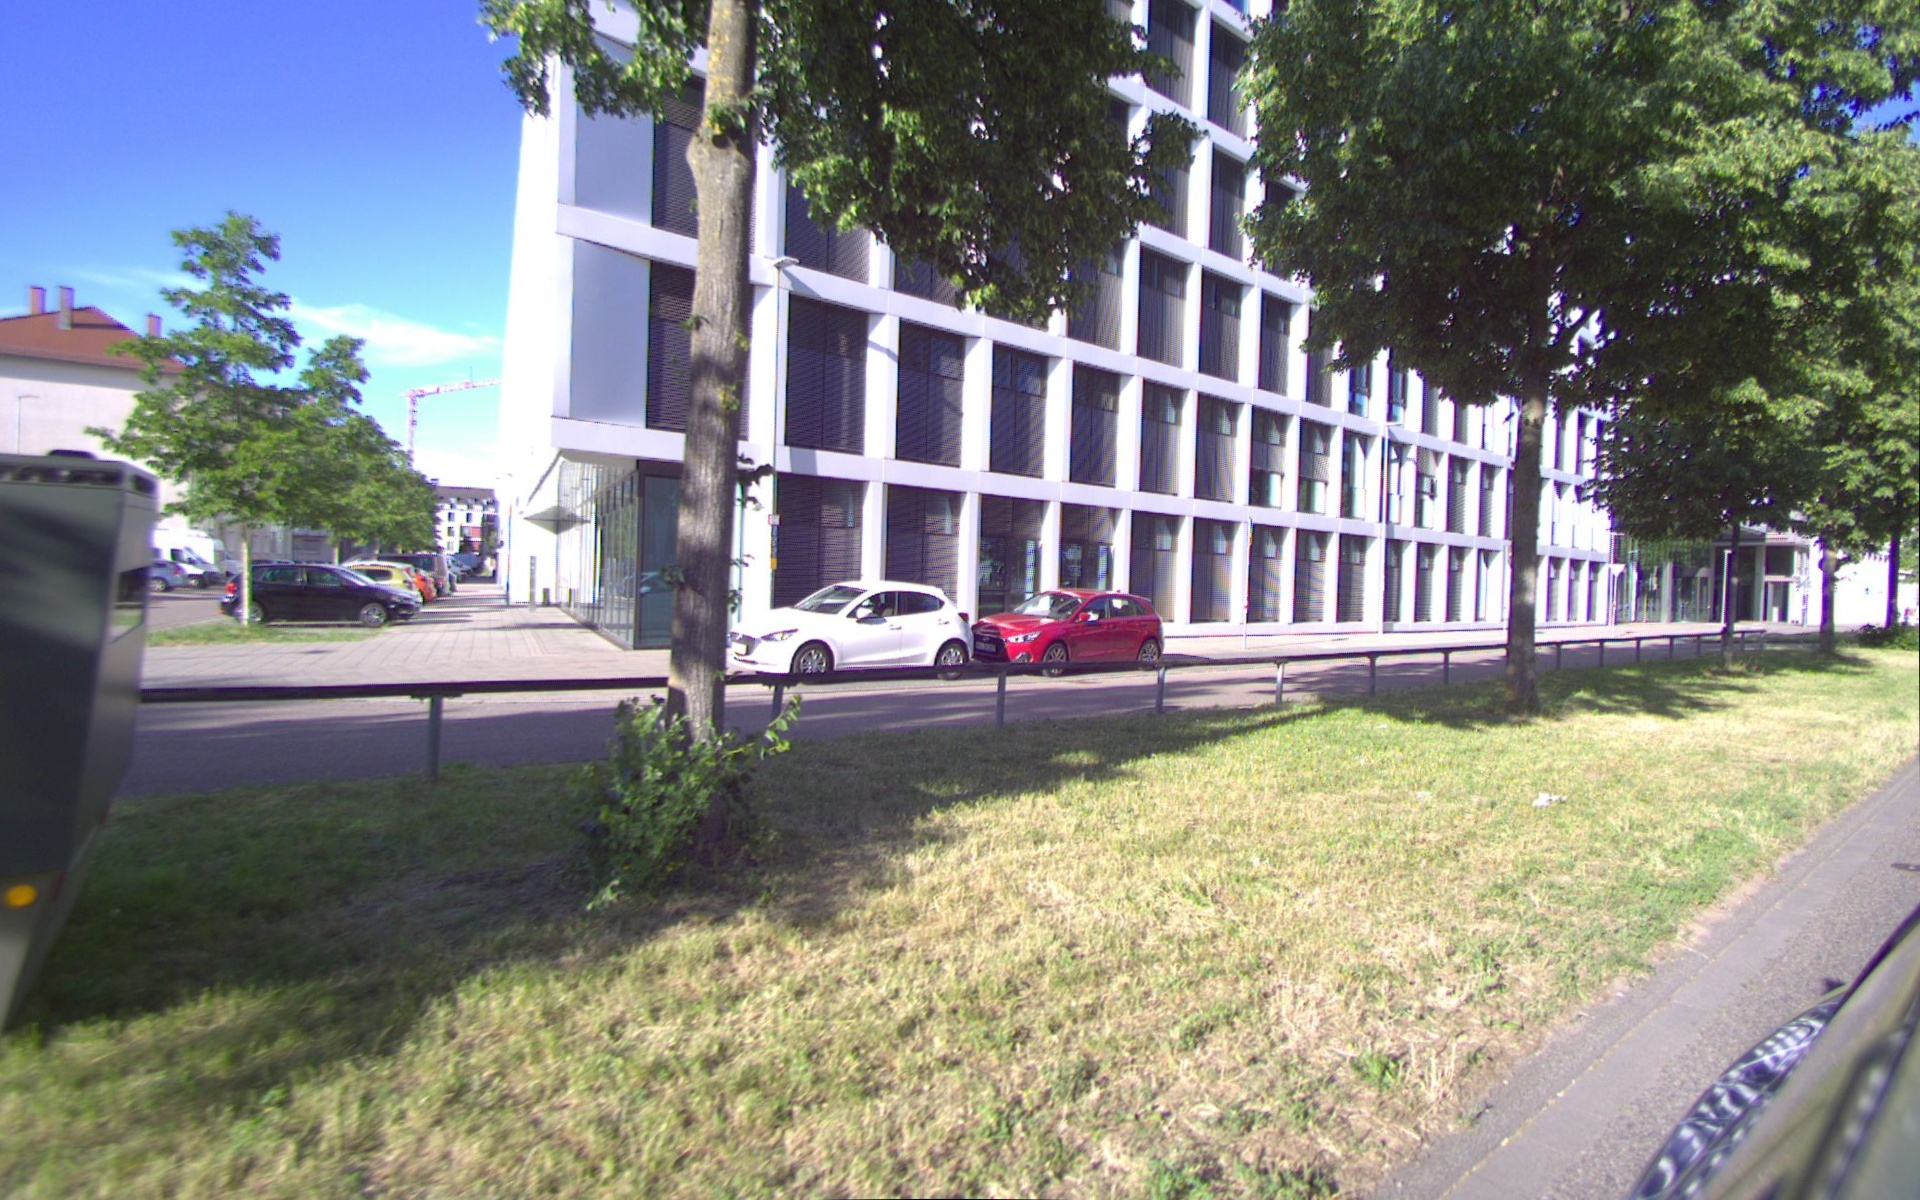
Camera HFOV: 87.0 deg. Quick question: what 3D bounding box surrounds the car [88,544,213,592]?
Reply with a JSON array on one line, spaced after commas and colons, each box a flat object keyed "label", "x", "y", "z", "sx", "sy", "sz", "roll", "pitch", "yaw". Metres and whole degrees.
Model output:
[{"label": "car", "x": -35.477, "y": -1.353, "z": 44.469, "sx": 3.917, "sy": 2.039, "sz": 2.003, "roll": 0, "pitch": 0, "yaw": -25}]

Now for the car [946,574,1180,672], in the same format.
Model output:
[{"label": "car", "x": 1.970, "y": 0.359, "z": 18.709, "sx": 4.197, "sy": 1.503, "sz": 1.870, "roll": 0, "pitch": 4, "yaw": -40}]

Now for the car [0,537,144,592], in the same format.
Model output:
[{"label": "car", "x": -34.217, "y": -1.318, "z": 39.011, "sx": 3.917, "sy": 2.039, "sz": 2.003, "roll": 0, "pitch": 0, "yaw": -25}]

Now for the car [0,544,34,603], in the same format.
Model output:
[{"label": "car", "x": -28.790, "y": -0.799, "z": 28.208, "sx": 3.917, "sy": 1.638, "sz": 2.003, "roll": 2, "pitch": -1, "yaw": -25}]

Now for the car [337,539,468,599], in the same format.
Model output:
[{"label": "car", "x": -19.617, "y": -1.058, "z": 35.833, "sx": 3.917, "sy": 2.039, "sz": 2.003, "roll": 0, "pitch": 0, "yaw": -25}]

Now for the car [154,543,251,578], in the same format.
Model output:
[{"label": "car", "x": -42.043, "y": -2.172, "z": 56.272, "sx": 3.917, "sy": 1.838, "sz": 2.004, "roll": 0, "pitch": 0, "yaw": -23}]

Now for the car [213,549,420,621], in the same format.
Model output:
[{"label": "car", "x": -15.125, "y": -0.350, "z": 24.072, "sx": 3.917, "sy": 1.594, "sz": 2.003, "roll": 0, "pitch": 0, "yaw": -25}]

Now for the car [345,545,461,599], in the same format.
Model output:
[{"label": "car", "x": -22.134, "y": -1.082, "z": 40.389, "sx": 3.917, "sy": 2.039, "sz": 2.003, "roll": 0, "pitch": 0, "yaw": -25}]

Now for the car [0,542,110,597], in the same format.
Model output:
[{"label": "car", "x": -31.241, "y": -1.035, "z": 33.839, "sx": 3.918, "sy": 1.749, "sz": 2.004, "roll": 1, "pitch": 1, "yaw": -26}]

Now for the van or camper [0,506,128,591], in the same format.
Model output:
[{"label": "van or camper", "x": -33.428, "y": -1.794, "z": 35.916, "sx": 5.732, "sy": 2.929, "sz": 2.003, "roll": 0, "pitch": 0, "yaw": -28}]

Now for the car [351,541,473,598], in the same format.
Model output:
[{"label": "car", "x": -20.666, "y": -1.115, "z": 38.351, "sx": 3.917, "sy": 2.039, "sz": 2.003, "roll": 0, "pitch": 0, "yaw": -25}]

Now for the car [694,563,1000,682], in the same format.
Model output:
[{"label": "car", "x": -1.701, "y": 0.276, "z": 15.866, "sx": 4.321, "sy": 1.503, "sz": 2.000, "roll": 0, "pitch": 5, "yaw": -38}]

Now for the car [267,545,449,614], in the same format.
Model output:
[{"label": "car", "x": -15.765, "y": -0.520, "z": 26.761, "sx": 3.917, "sy": 1.705, "sz": 2.003, "roll": 0, "pitch": 0, "yaw": -25}]

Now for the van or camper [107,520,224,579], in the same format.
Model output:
[{"label": "van or camper", "x": -41.463, "y": -2.587, "z": 52.946, "sx": 4.469, "sy": 2.956, "sz": 2.003, "roll": 0, "pitch": 0, "yaw": -25}]

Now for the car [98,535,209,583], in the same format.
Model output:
[{"label": "car", "x": -39.679, "y": -1.992, "z": 49.923, "sx": 3.917, "sy": 2.245, "sz": 2.003, "roll": 0, "pitch": 0, "yaw": -25}]

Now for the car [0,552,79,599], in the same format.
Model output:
[{"label": "car", "x": -30.238, "y": -0.795, "z": 31.472, "sx": 3.917, "sy": 1.369, "sz": 1.738, "roll": 2, "pitch": -1, "yaw": -25}]

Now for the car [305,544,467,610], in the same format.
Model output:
[{"label": "car", "x": -16.460, "y": -0.639, "z": 29.267, "sx": 3.917, "sy": 1.794, "sz": 2.003, "roll": 0, "pitch": 0, "yaw": -25}]

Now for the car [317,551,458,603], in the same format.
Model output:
[{"label": "car", "x": -18.842, "y": -0.734, "z": 33.520, "sx": 3.917, "sy": 1.616, "sz": 2.003, "roll": 0, "pitch": 0, "yaw": -25}]
